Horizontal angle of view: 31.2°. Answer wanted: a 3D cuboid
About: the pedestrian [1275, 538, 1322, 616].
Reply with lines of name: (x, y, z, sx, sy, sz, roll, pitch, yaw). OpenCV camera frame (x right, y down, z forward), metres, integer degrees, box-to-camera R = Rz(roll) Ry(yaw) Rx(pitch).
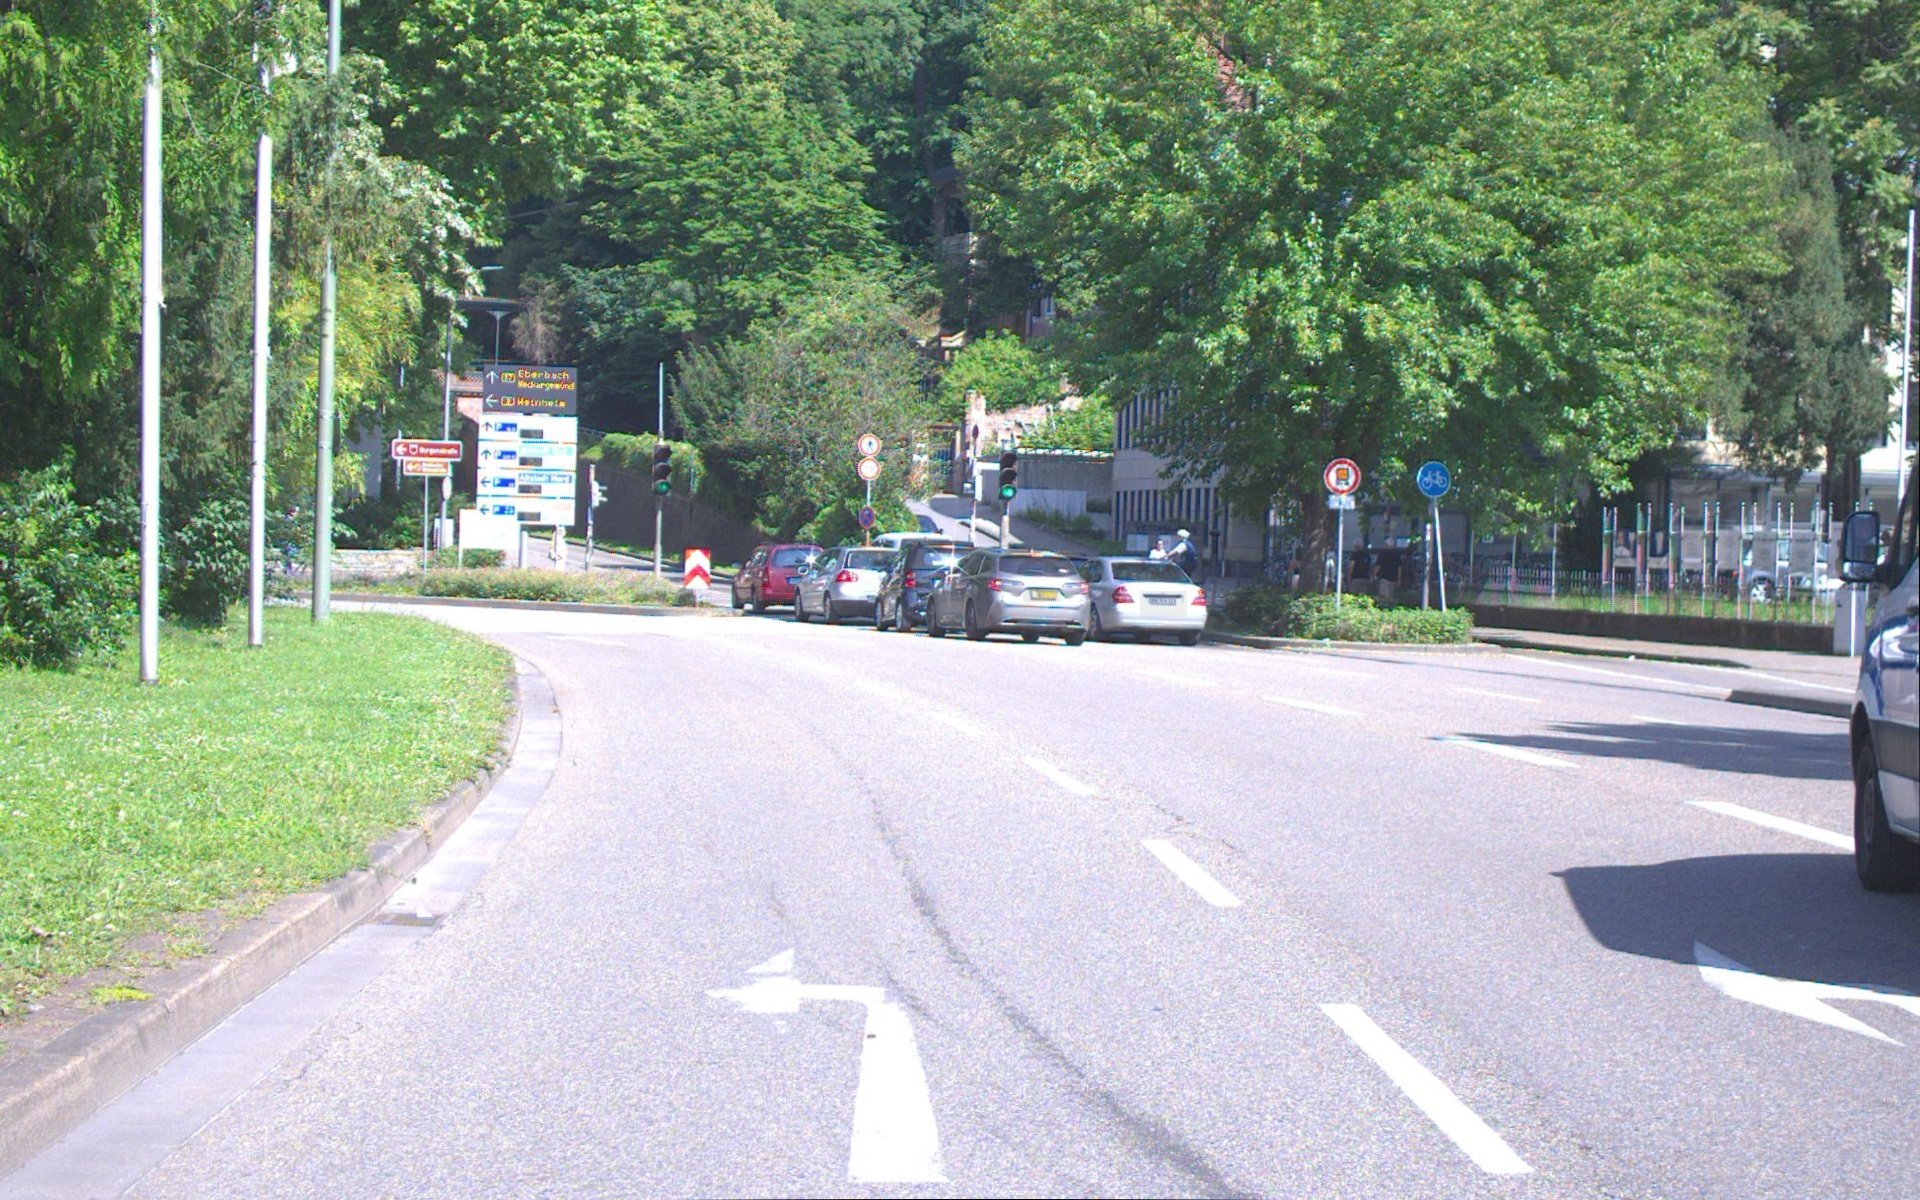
pedestrian: (7.326, -0.505, 74.526, 0.771, 1.657, 0.830, 2, 1, -9)

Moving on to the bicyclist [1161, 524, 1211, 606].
bicyclist: (5.402, -0.832, 82.101, 1.126, 1.926, 0.748, 2, 1, 3)

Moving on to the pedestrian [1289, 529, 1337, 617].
pedestrian: (7.530, -0.578, 73.326, 0.771, 1.848, 0.830, 2, 1, -9)

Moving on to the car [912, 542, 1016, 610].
car: (0.069, -0.565, 79.315, 1.755, 1.456, 3.495, 2, 1, -10)

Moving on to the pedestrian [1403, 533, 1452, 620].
pedestrian: (10.126, -0.513, 74.511, 0.771, 1.848, 0.830, 2, 1, -11)

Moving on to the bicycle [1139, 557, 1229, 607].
bicycle: (5.344, -0.436, 82.117, 2.076, 1.109, 0.757, 2, 1, 2)

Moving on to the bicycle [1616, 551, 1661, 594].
bicycle: (17.452, -0.710, 88.492, 0.537, 1.081, 1.835, 1, 1, -8)

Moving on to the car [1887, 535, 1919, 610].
car: (18.944, -0.455, 61.661, 4.039, 1.331, 1.861, 1, 1, -12)

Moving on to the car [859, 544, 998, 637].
car: (-0.572, -0.183, 58.729, 1.755, 1.456, 3.495, 2, 1, -10)

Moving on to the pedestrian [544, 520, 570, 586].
pedestrian: (-10.041, -1.167, 85.728, 0.547, 1.615, 0.634, 1, 2, -1)

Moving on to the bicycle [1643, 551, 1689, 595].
bicycle: (18.145, -0.696, 88.401, 0.537, 1.081, 1.835, 1, 1, -8)

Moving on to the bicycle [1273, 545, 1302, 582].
bicycle: (8.649, -0.962, 90.859, 0.405, 0.938, 1.341, 1, 2, -9)

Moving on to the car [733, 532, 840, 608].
car: (-3.641, -0.643, 71.584, 1.755, 1.456, 3.495, 2, 1, -10)

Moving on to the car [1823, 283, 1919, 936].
car: (4.691, 0.051, 12.865, 2.074, 2.500, 4.928, 2, 1, 6)

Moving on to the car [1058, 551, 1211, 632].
car: (2.879, -0.155, 57.299, 1.755, 1.209, 3.495, 2, 1, -10)

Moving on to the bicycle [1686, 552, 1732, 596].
bicycle: (19.315, -0.678, 88.679, 0.537, 1.081, 1.835, 1, 1, -8)

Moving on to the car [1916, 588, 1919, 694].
car: (14.078, 0.511, 44.893, 1.825, 1.456, 4.099, 3, 1, 34)

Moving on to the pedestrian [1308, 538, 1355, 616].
pedestrian: (8.117, -0.513, 75.091, 0.771, 1.657, 0.830, 2, 1, -9)

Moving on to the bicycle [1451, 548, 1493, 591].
bicycle: (13.111, -0.784, 88.076, 0.537, 1.081, 1.835, 1, 1, -8)

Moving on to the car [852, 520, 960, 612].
car: (-1.217, -0.770, 75.812, 1.755, 1.931, 3.495, 2, 1, -10)

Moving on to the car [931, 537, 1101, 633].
car: (0.817, -0.260, 52.712, 1.755, 1.329, 3.803, 2, 1, -12)

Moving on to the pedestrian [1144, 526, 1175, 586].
pedestrian: (4.904, -1.075, 84.495, 0.489, 1.453, 0.734, 1, 1, -21)

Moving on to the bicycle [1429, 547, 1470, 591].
bicycle: (12.522, -0.794, 87.987, 0.537, 1.081, 1.835, 1, 1, -8)

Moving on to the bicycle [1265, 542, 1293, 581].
bicycle: (8.618, -1.039, 92.774, 0.405, 1.009, 1.341, 1, 2, -9)

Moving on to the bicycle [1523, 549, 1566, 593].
bicycle: (15.001, -0.752, 88.262, 0.537, 1.081, 1.835, 1, 1, -8)

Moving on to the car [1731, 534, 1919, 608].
car: (17.330, -0.552, 66.148, 4.465, 1.331, 1.822, 1, 1, -12)

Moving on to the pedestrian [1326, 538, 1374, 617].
pedestrian: (8.374, -0.478, 73.894, 0.771, 1.657, 0.830, 2, 1, -8)

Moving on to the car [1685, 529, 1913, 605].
car: (17.321, -0.689, 71.001, 4.141, 1.470, 1.878, 1, 1, -14)

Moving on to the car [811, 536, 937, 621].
car: (-1.630, -0.419, 63.942, 1.755, 1.456, 3.647, 2, 1, -10)

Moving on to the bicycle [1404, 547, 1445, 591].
bicycle: (11.884, -0.805, 87.907, 0.537, 1.081, 1.835, 1, 1, -8)

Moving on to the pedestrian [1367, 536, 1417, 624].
pedestrian: (9.232, -0.433, 73.531, 0.771, 1.848, 0.830, 2, 1, -11)
